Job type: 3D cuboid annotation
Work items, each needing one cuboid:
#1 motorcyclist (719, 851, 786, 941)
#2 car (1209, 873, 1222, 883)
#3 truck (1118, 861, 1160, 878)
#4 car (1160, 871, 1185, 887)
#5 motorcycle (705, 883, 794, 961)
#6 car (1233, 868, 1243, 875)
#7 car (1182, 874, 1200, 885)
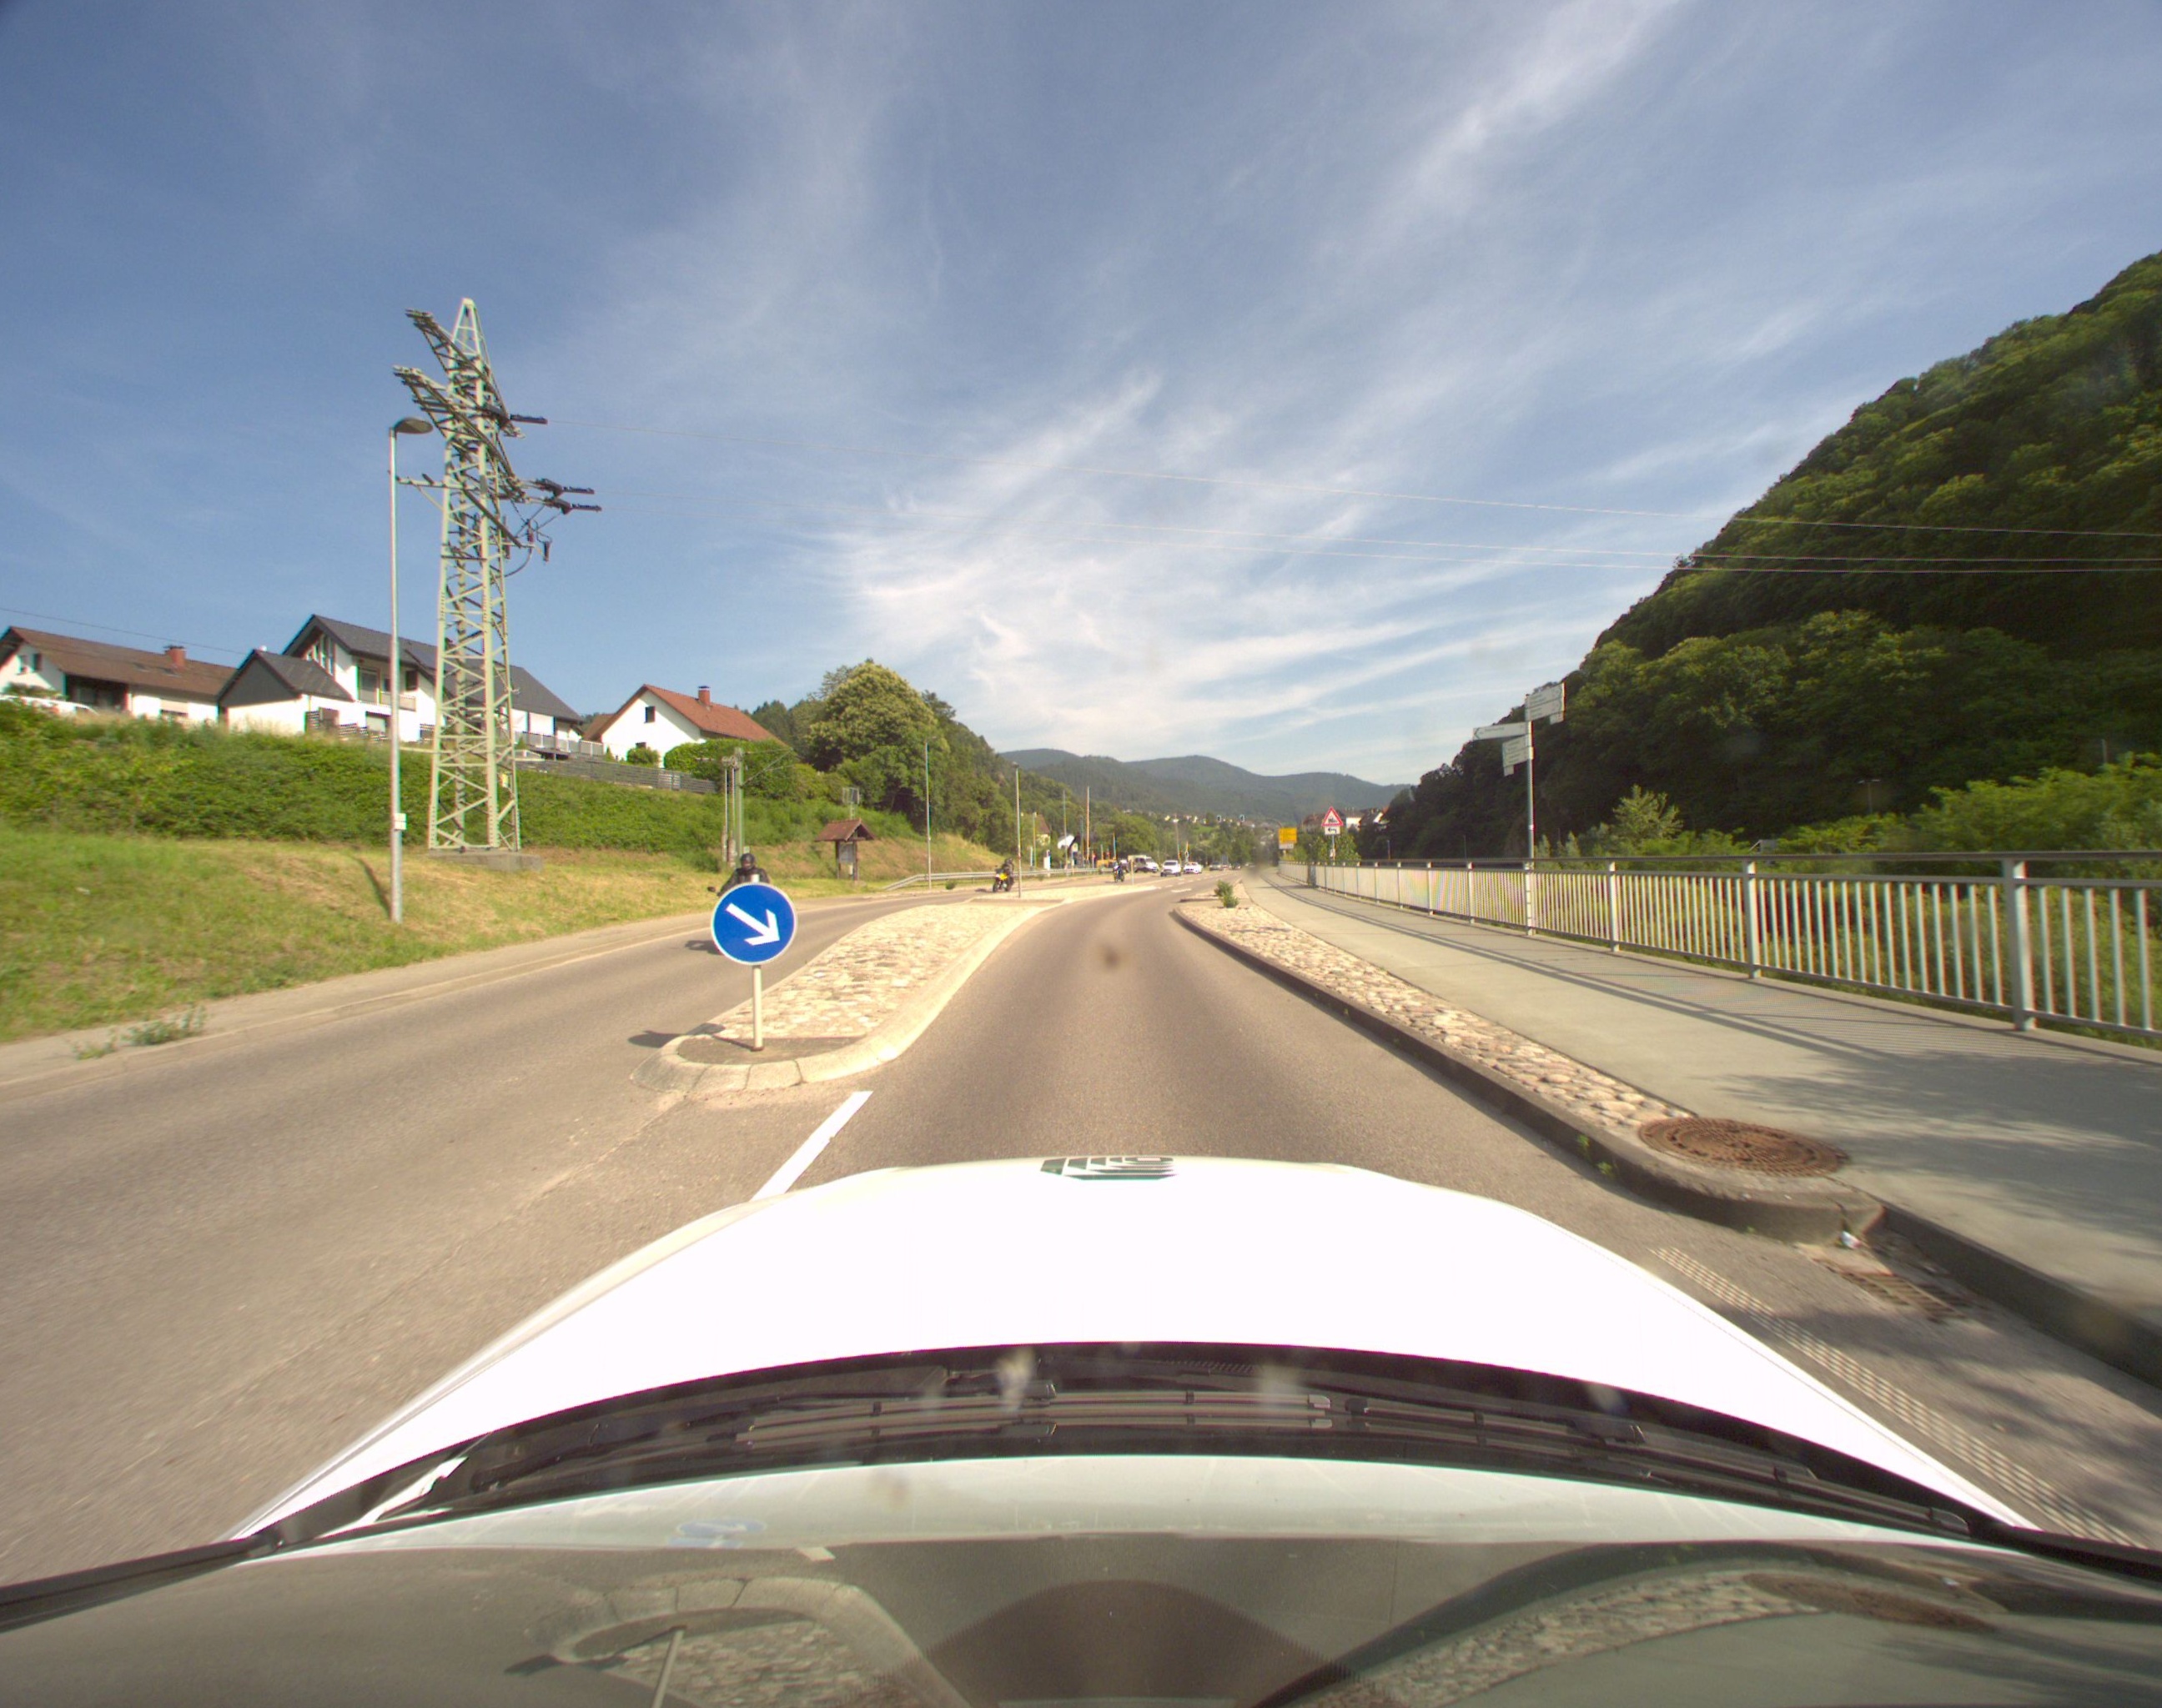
[{"bbox_3d":[-5.836,0.729,14.510,0.905,1.519,0.845,-1,-1,-8],"label":"motorcyclist"},{"bbox_3d":[21.527,3.847,130.221,1.746,1.521,4.220,0,-2,14],"label":"car"},{"bbox_3d":[7.894,2.086,110.798,2.011,2.266,5.929,0,-1,-43],"label":"truck"},{"bbox_3d":[9.368,2.547,83.535,1.750,1.560,4.018,-1,-2,18],"label":"car"},{"bbox_3d":[-5.811,1.151,14.449,0.894,1.183,2.299,-1,-1,-8],"label":"motorcycle"},{"bbox_3d":[32.075,3.554,166.227,1.760,1.417,3.799,-3,-2,14],"label":"car"},{"bbox_3d":[13.541,3.134,100.269,1.770,1.400,4.842,0,-2,12],"label":"car"}]
